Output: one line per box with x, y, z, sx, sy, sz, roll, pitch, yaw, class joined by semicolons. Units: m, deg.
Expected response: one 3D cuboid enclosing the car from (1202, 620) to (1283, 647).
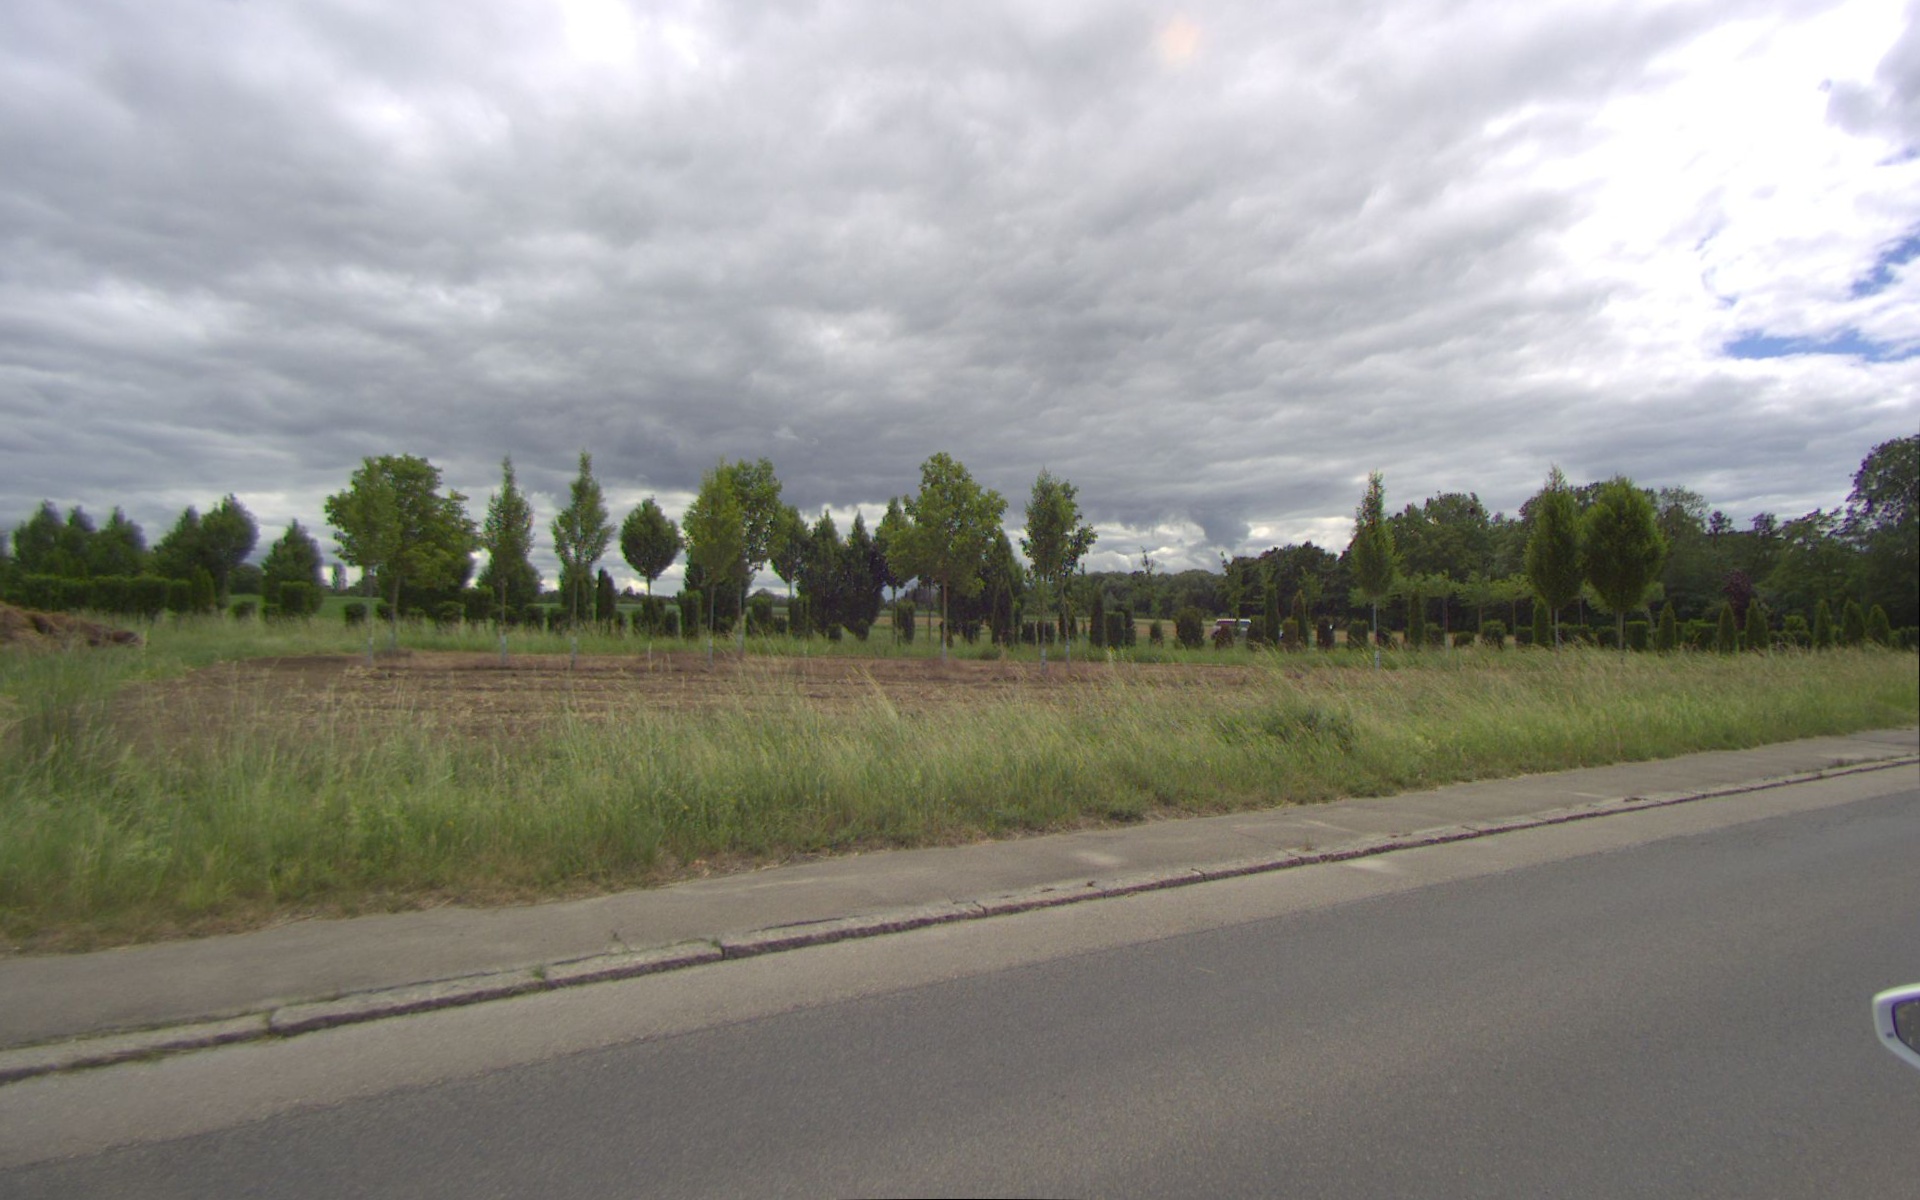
15.886;1.849;56.503;3.946;1.473;1.963;-1;-2;44;car
